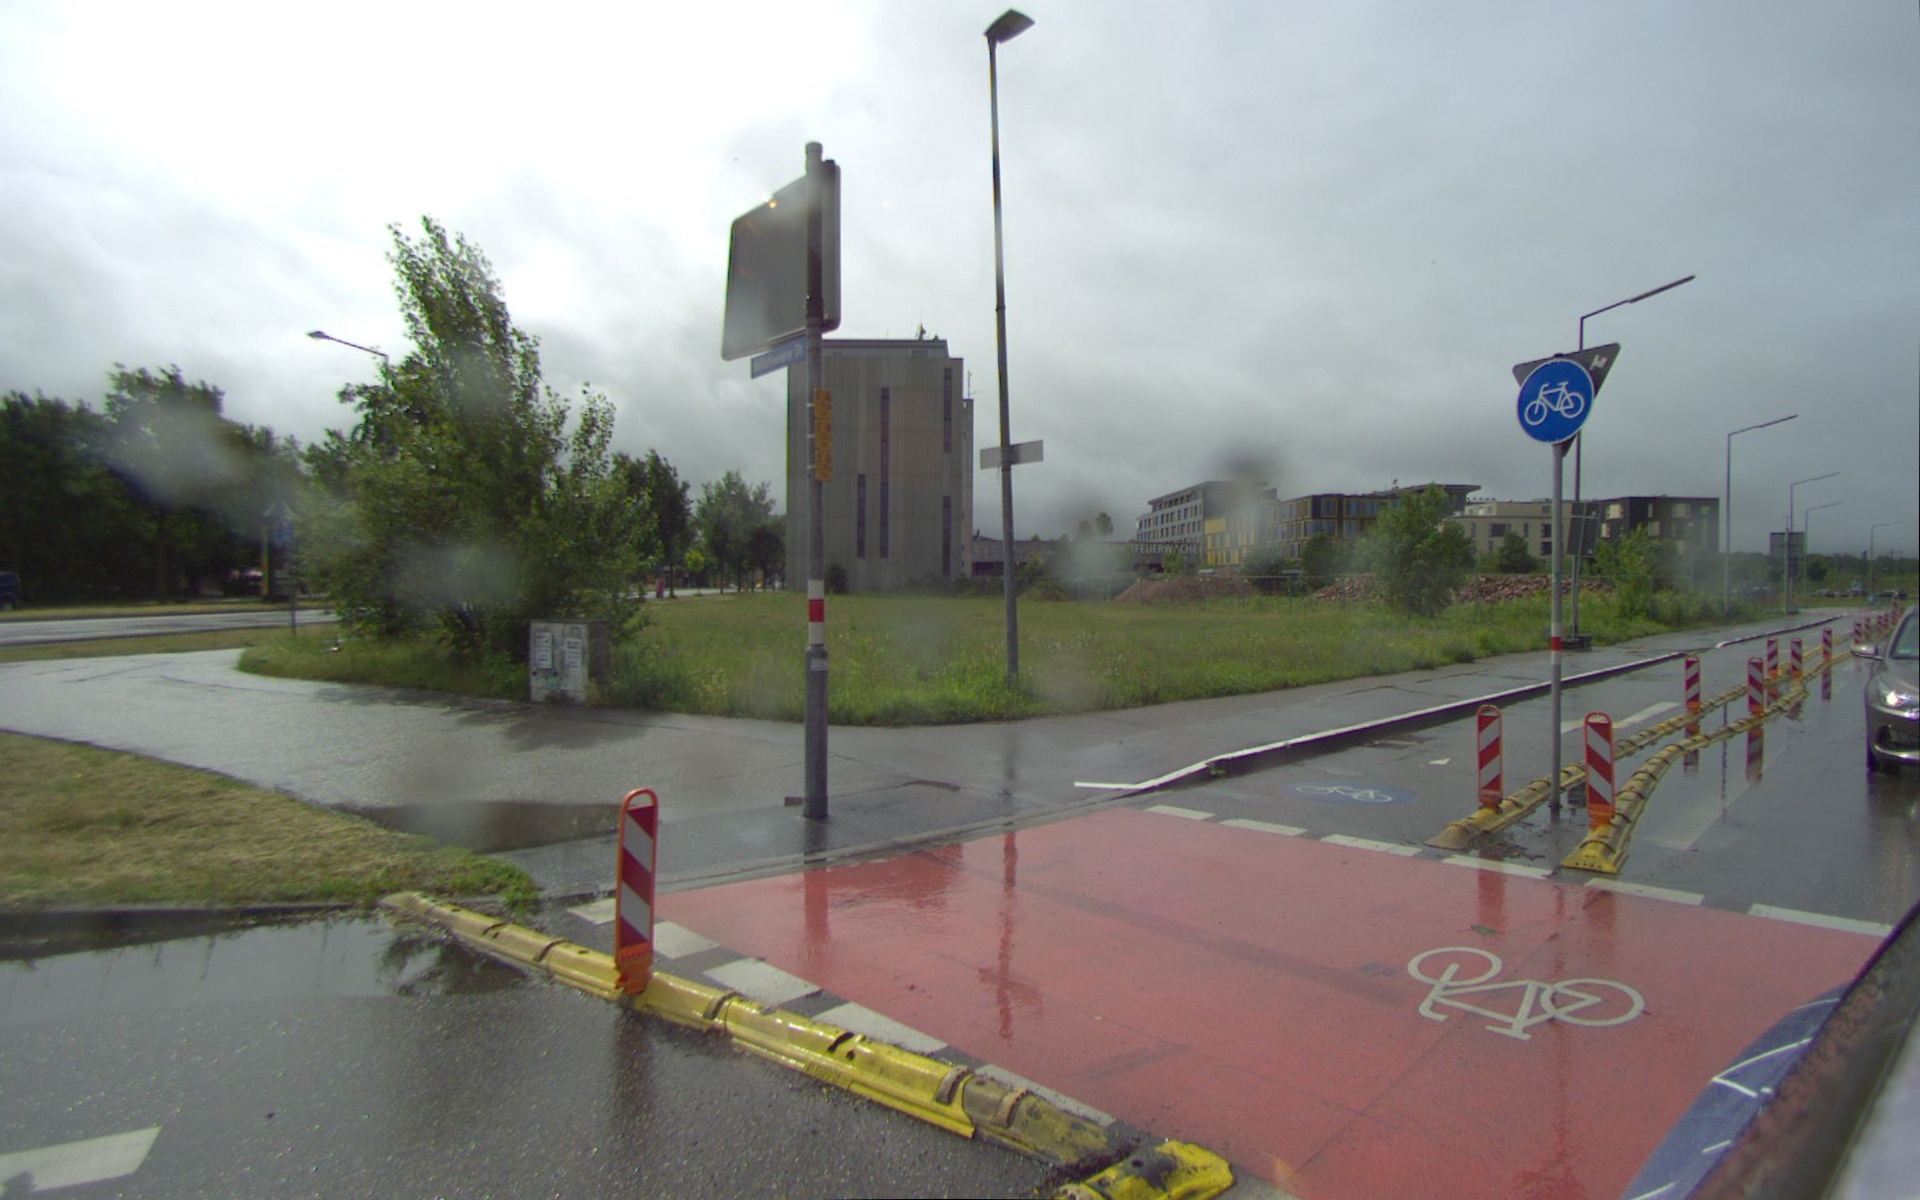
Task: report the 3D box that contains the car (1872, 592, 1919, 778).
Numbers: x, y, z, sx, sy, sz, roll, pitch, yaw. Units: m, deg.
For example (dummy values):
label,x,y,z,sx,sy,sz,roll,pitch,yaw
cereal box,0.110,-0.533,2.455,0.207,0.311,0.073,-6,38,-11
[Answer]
label,x,y,z,sx,sy,sz,roll,pitch,yaw
car,9.402,0.655,8.906,4.059,1.431,1.731,-1,1,-43

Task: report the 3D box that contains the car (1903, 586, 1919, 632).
label,x,y,z,sx,sy,sz,roll,pitch,yaw
car,36.611,0.311,37.821,1.868,1.684,4.415,-2,-1,42
